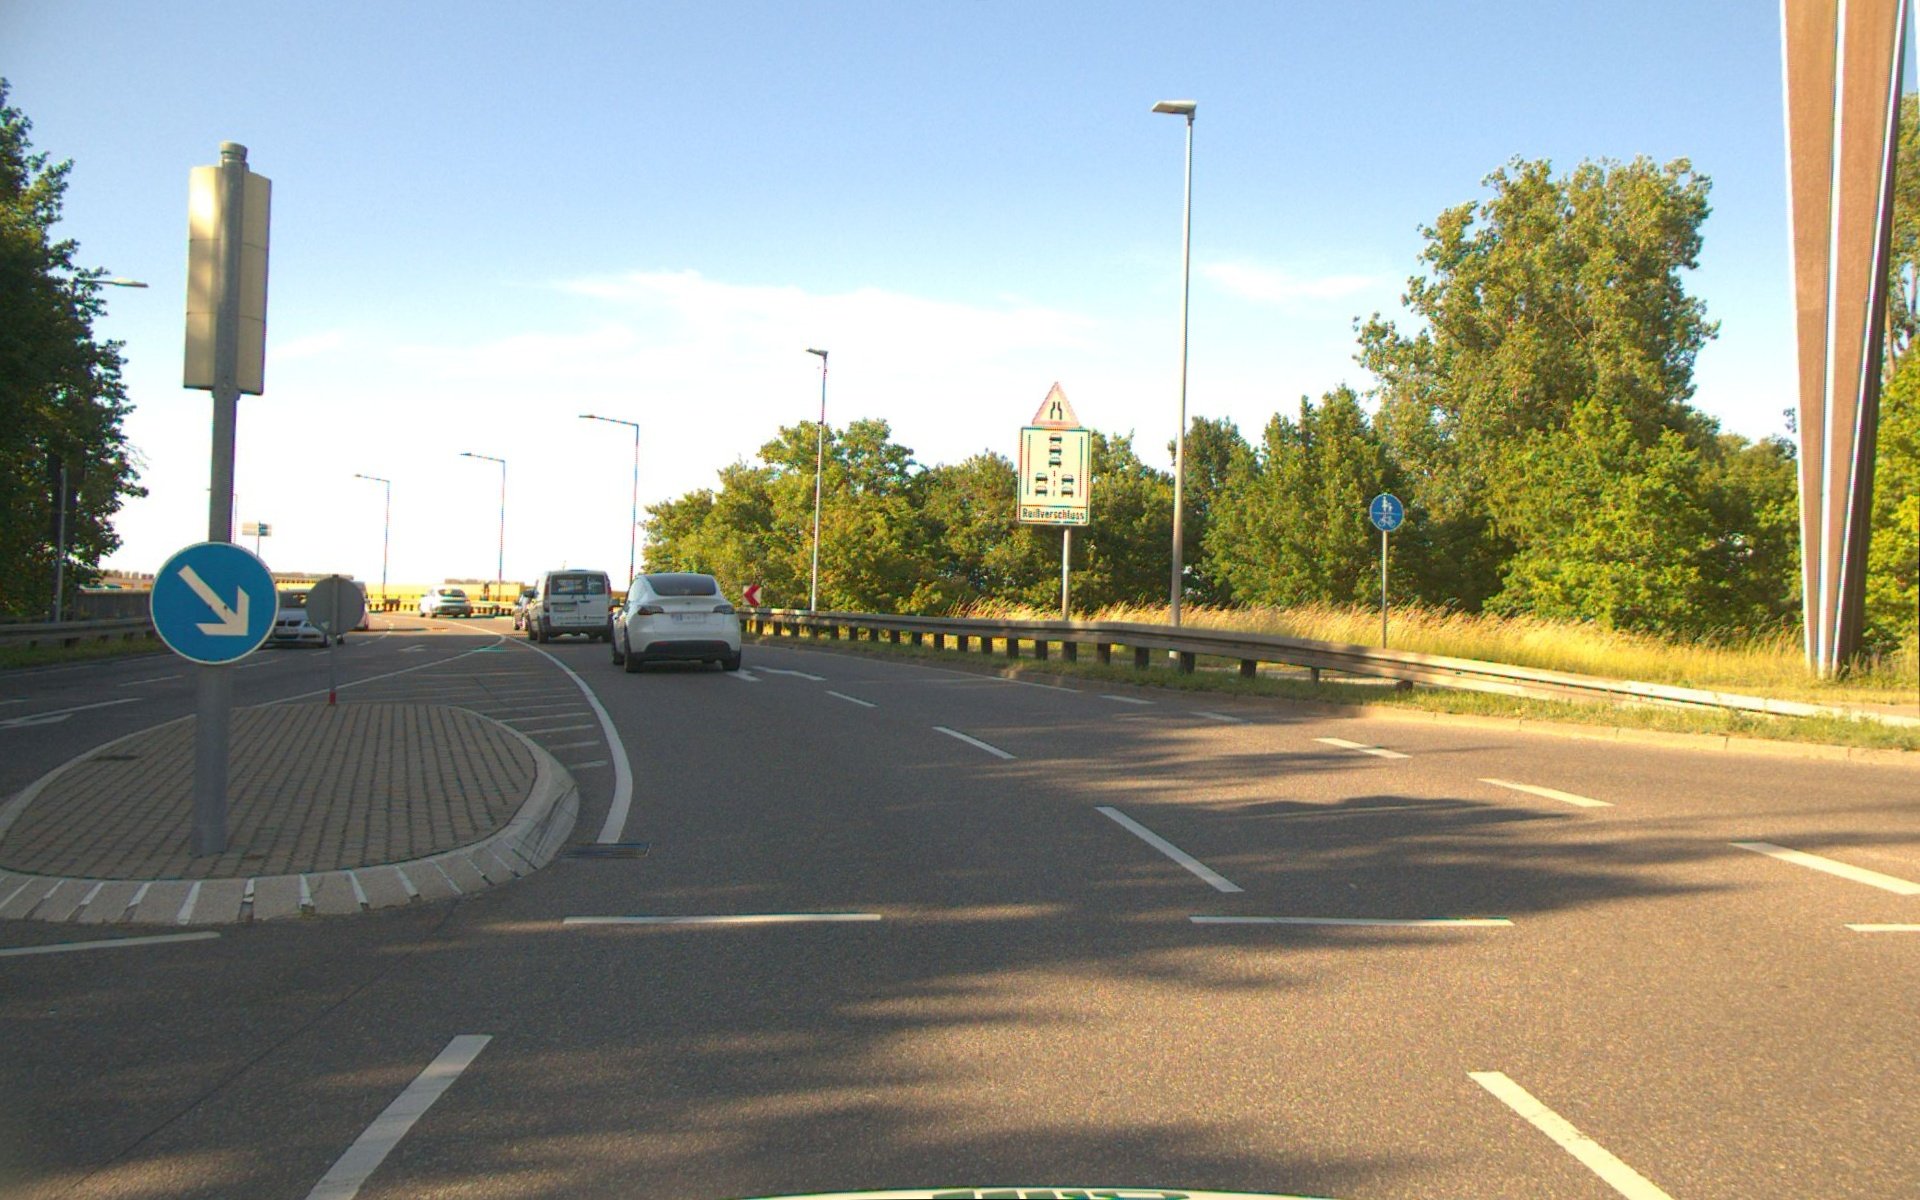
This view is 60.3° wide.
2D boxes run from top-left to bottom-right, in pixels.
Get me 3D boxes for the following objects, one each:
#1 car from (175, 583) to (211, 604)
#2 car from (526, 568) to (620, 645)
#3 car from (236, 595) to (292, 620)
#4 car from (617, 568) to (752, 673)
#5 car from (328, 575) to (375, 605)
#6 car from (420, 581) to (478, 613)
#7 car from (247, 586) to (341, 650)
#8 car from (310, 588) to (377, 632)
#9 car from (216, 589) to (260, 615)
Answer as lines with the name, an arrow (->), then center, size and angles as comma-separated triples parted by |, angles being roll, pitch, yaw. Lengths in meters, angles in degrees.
car -> -56.496, -0.478, 121.765 | 1.398, 1.477, 3.297 | 1, 0, -43
car -> -10.301, 0.164, 43.821 | 1.964, 1.912, 4.225 | 1, 0, -20
car -> -47.080, 0.506, 111.867 | 2.255, 1.534, 3.937 | 2, -1, -43
car -> -4.864, 0.339, 28.736 | 1.960, 1.668, 4.112 | 1, 0, -14
car -> -36.461, -0.586, 99.055 | 1.949, 1.728, 3.959 | 1, 0, -31
car -> -25.021, -0.149, 80.915 | 1.947, 1.500, 4.116 | 1, 0, -28
car -> -16.595, 0.419, 41.380 | 1.840, 1.500, 3.891 | 1, 0, -17
car -> -21.135, 0.318, 56.691 | 2.066, 1.415, 4.383 | 1, 0, -21
car -> -45.252, 0.141, 103.570 | 1.603, 1.536, 3.506 | 1, 0, -40
